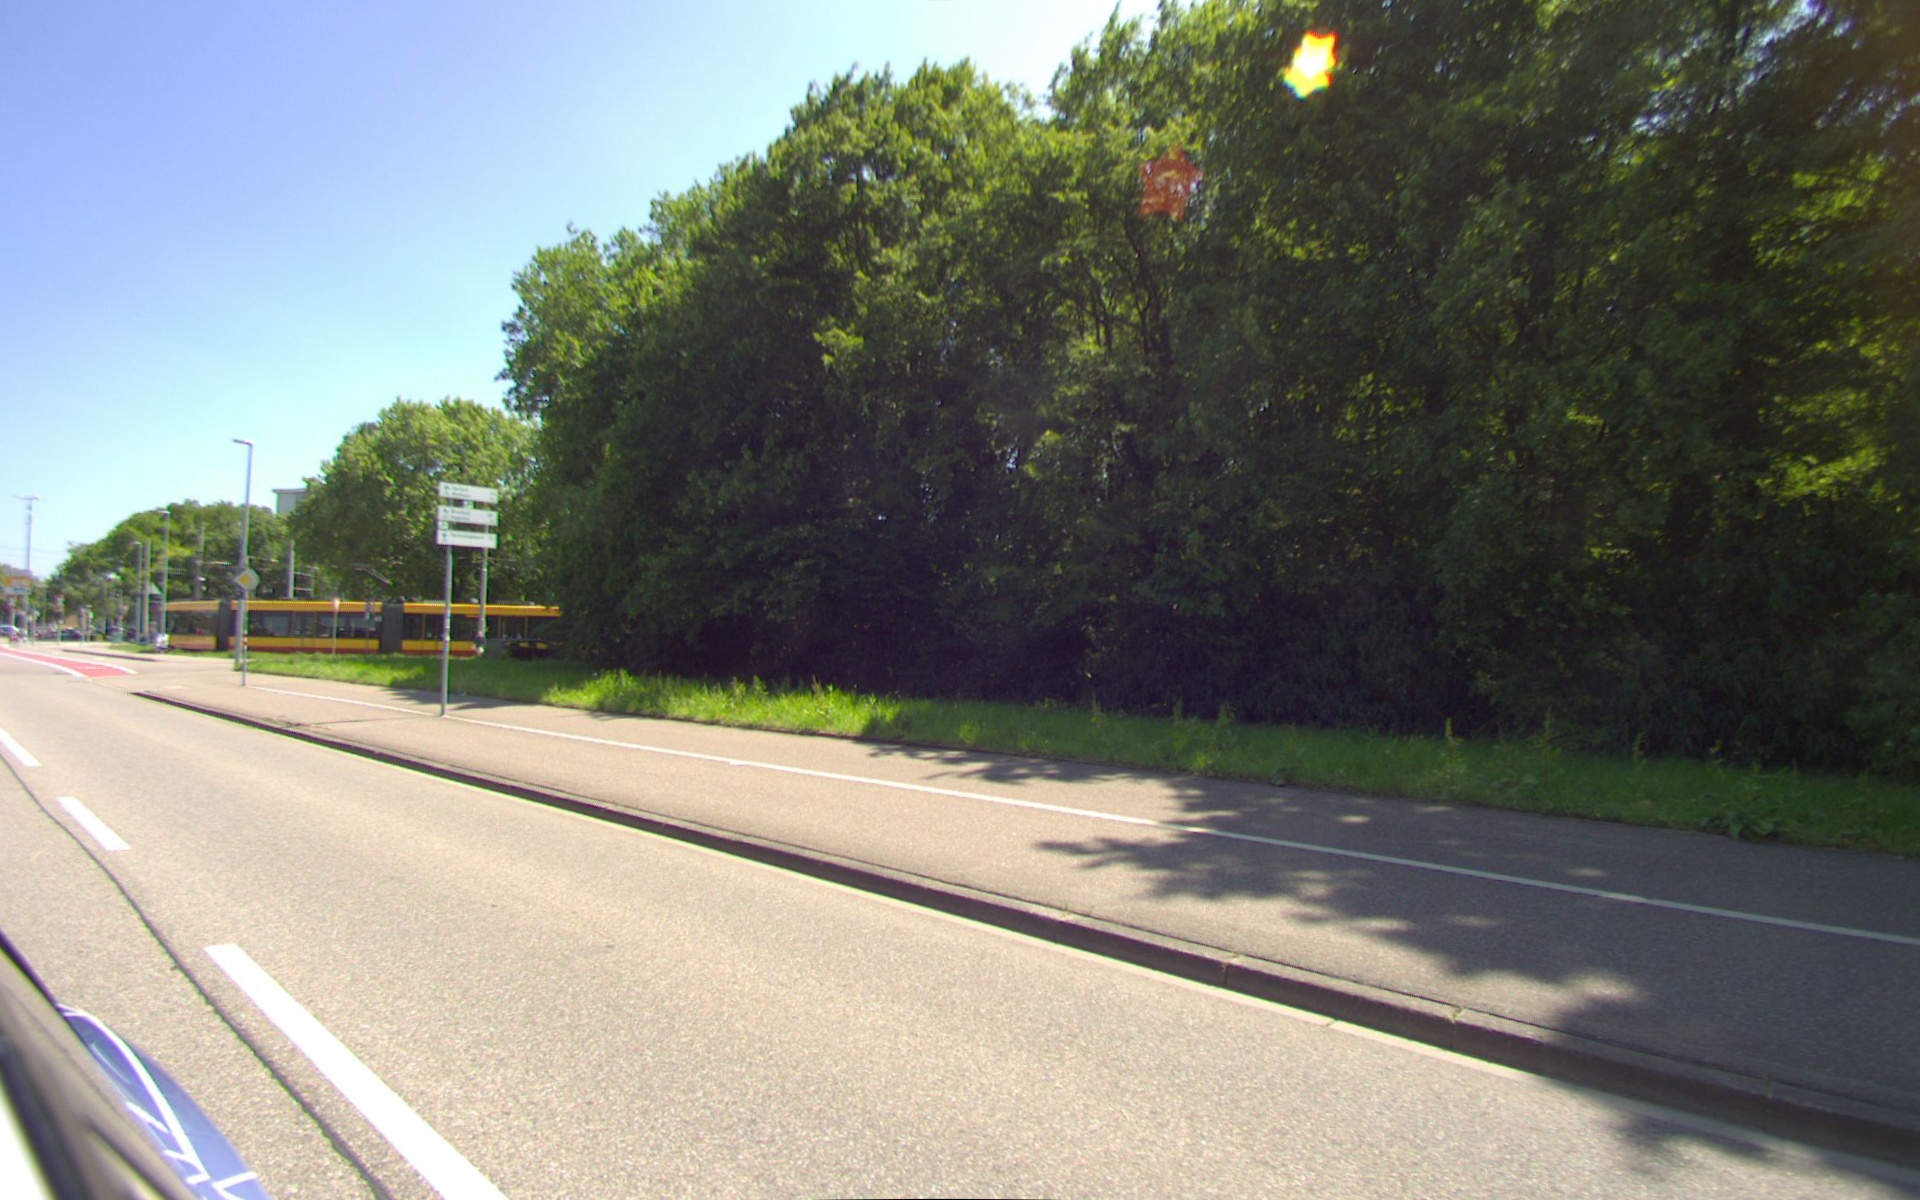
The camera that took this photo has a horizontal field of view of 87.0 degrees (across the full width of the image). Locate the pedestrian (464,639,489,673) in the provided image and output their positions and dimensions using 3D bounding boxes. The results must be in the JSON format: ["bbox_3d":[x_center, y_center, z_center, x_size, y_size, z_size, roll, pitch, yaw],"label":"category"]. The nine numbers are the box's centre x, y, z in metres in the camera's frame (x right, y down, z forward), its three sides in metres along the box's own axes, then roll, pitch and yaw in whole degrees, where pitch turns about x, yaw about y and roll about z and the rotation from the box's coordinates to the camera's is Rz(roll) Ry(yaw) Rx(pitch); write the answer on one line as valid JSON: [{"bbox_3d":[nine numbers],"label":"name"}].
[{"bbox_3d":[-24.753,2.884,51.829,0.842,1.723,0.810,0,-3,-2],"label":"pedestrian"}]

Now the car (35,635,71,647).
[{"bbox_3d":[-119.077,5.405,132.840,3.438,1.439,1.586,2,-5,-42],"label":"car"}]

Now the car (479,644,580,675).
[{"bbox_3d":[-21.218,2.958,49.965,4.243,1.428,1.670,4,-3,-38],"label":"car"}]

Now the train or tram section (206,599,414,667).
[{"bbox_3d":[-38.898,1.971,60.668,11.494,3.788,3.015,1,-4,12],"label":"train or tram section"}]

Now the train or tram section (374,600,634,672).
[{"bbox_3d":[-27.078,2.253,60.997,13.812,3.788,3.034,2,-4,-14],"label":"train or tram section"}]

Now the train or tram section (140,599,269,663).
[{"bbox_3d":[-49.096,2.070,65.535,12.971,3.788,2.988,-2,-5,37],"label":"train or tram section"}]
